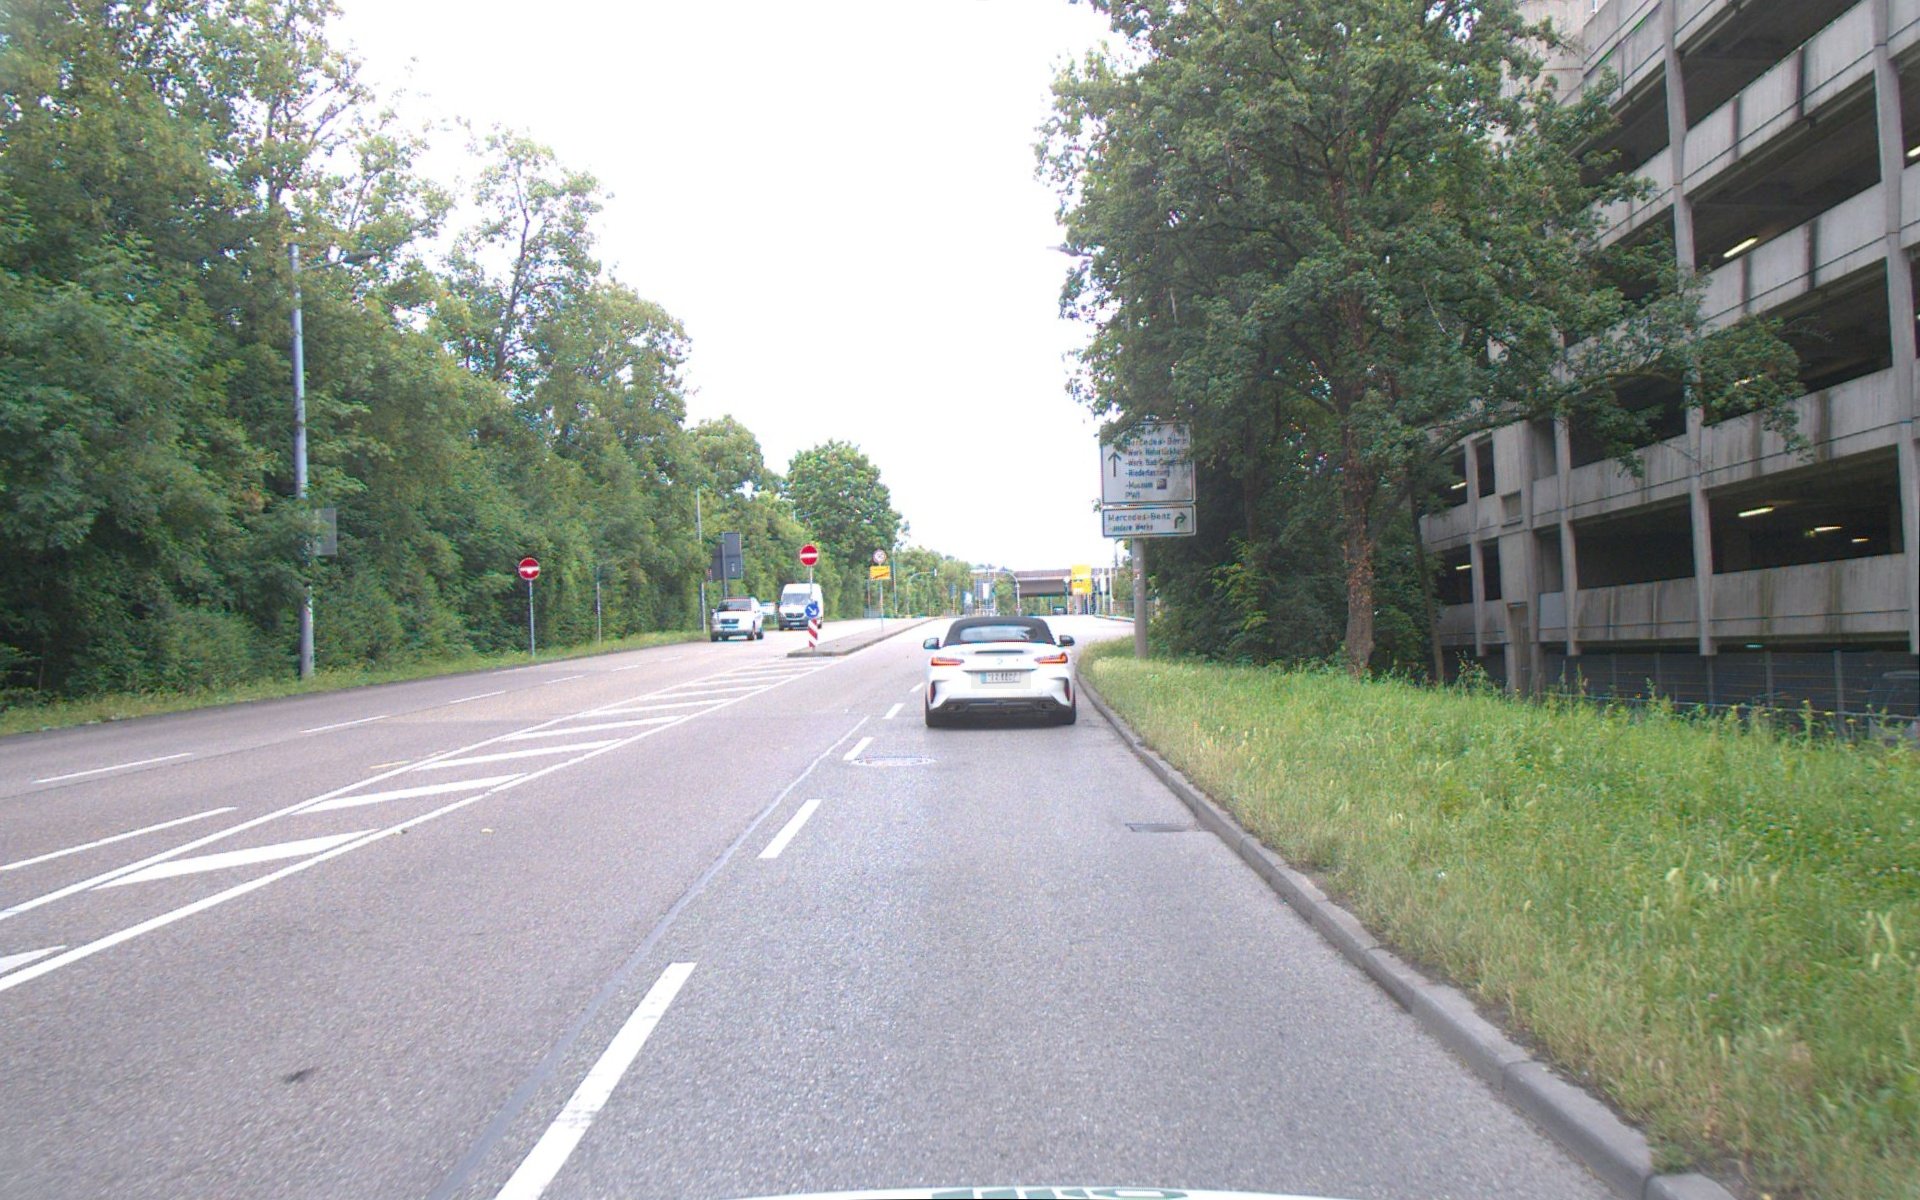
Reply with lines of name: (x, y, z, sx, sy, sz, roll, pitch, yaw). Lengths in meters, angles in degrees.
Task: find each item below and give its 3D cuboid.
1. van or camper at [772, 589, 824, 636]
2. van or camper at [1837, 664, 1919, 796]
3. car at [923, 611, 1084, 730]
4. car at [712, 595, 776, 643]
van or camper: (-9.230, 0.742, 94.547, 2.236, 2.600, 6.859, 0, -1, 0)
van or camper: (16.808, 2.007, 26.971, 3.924, 1.988, 1.839, -3, -2, -2)
car: (0.550, 0.846, 21.160, 1.836, 1.332, 3.873, -1, -1, 1)
car: (-9.080, 0.782, 69.796, 1.775, 1.862, 4.386, -2, 0, 4)
